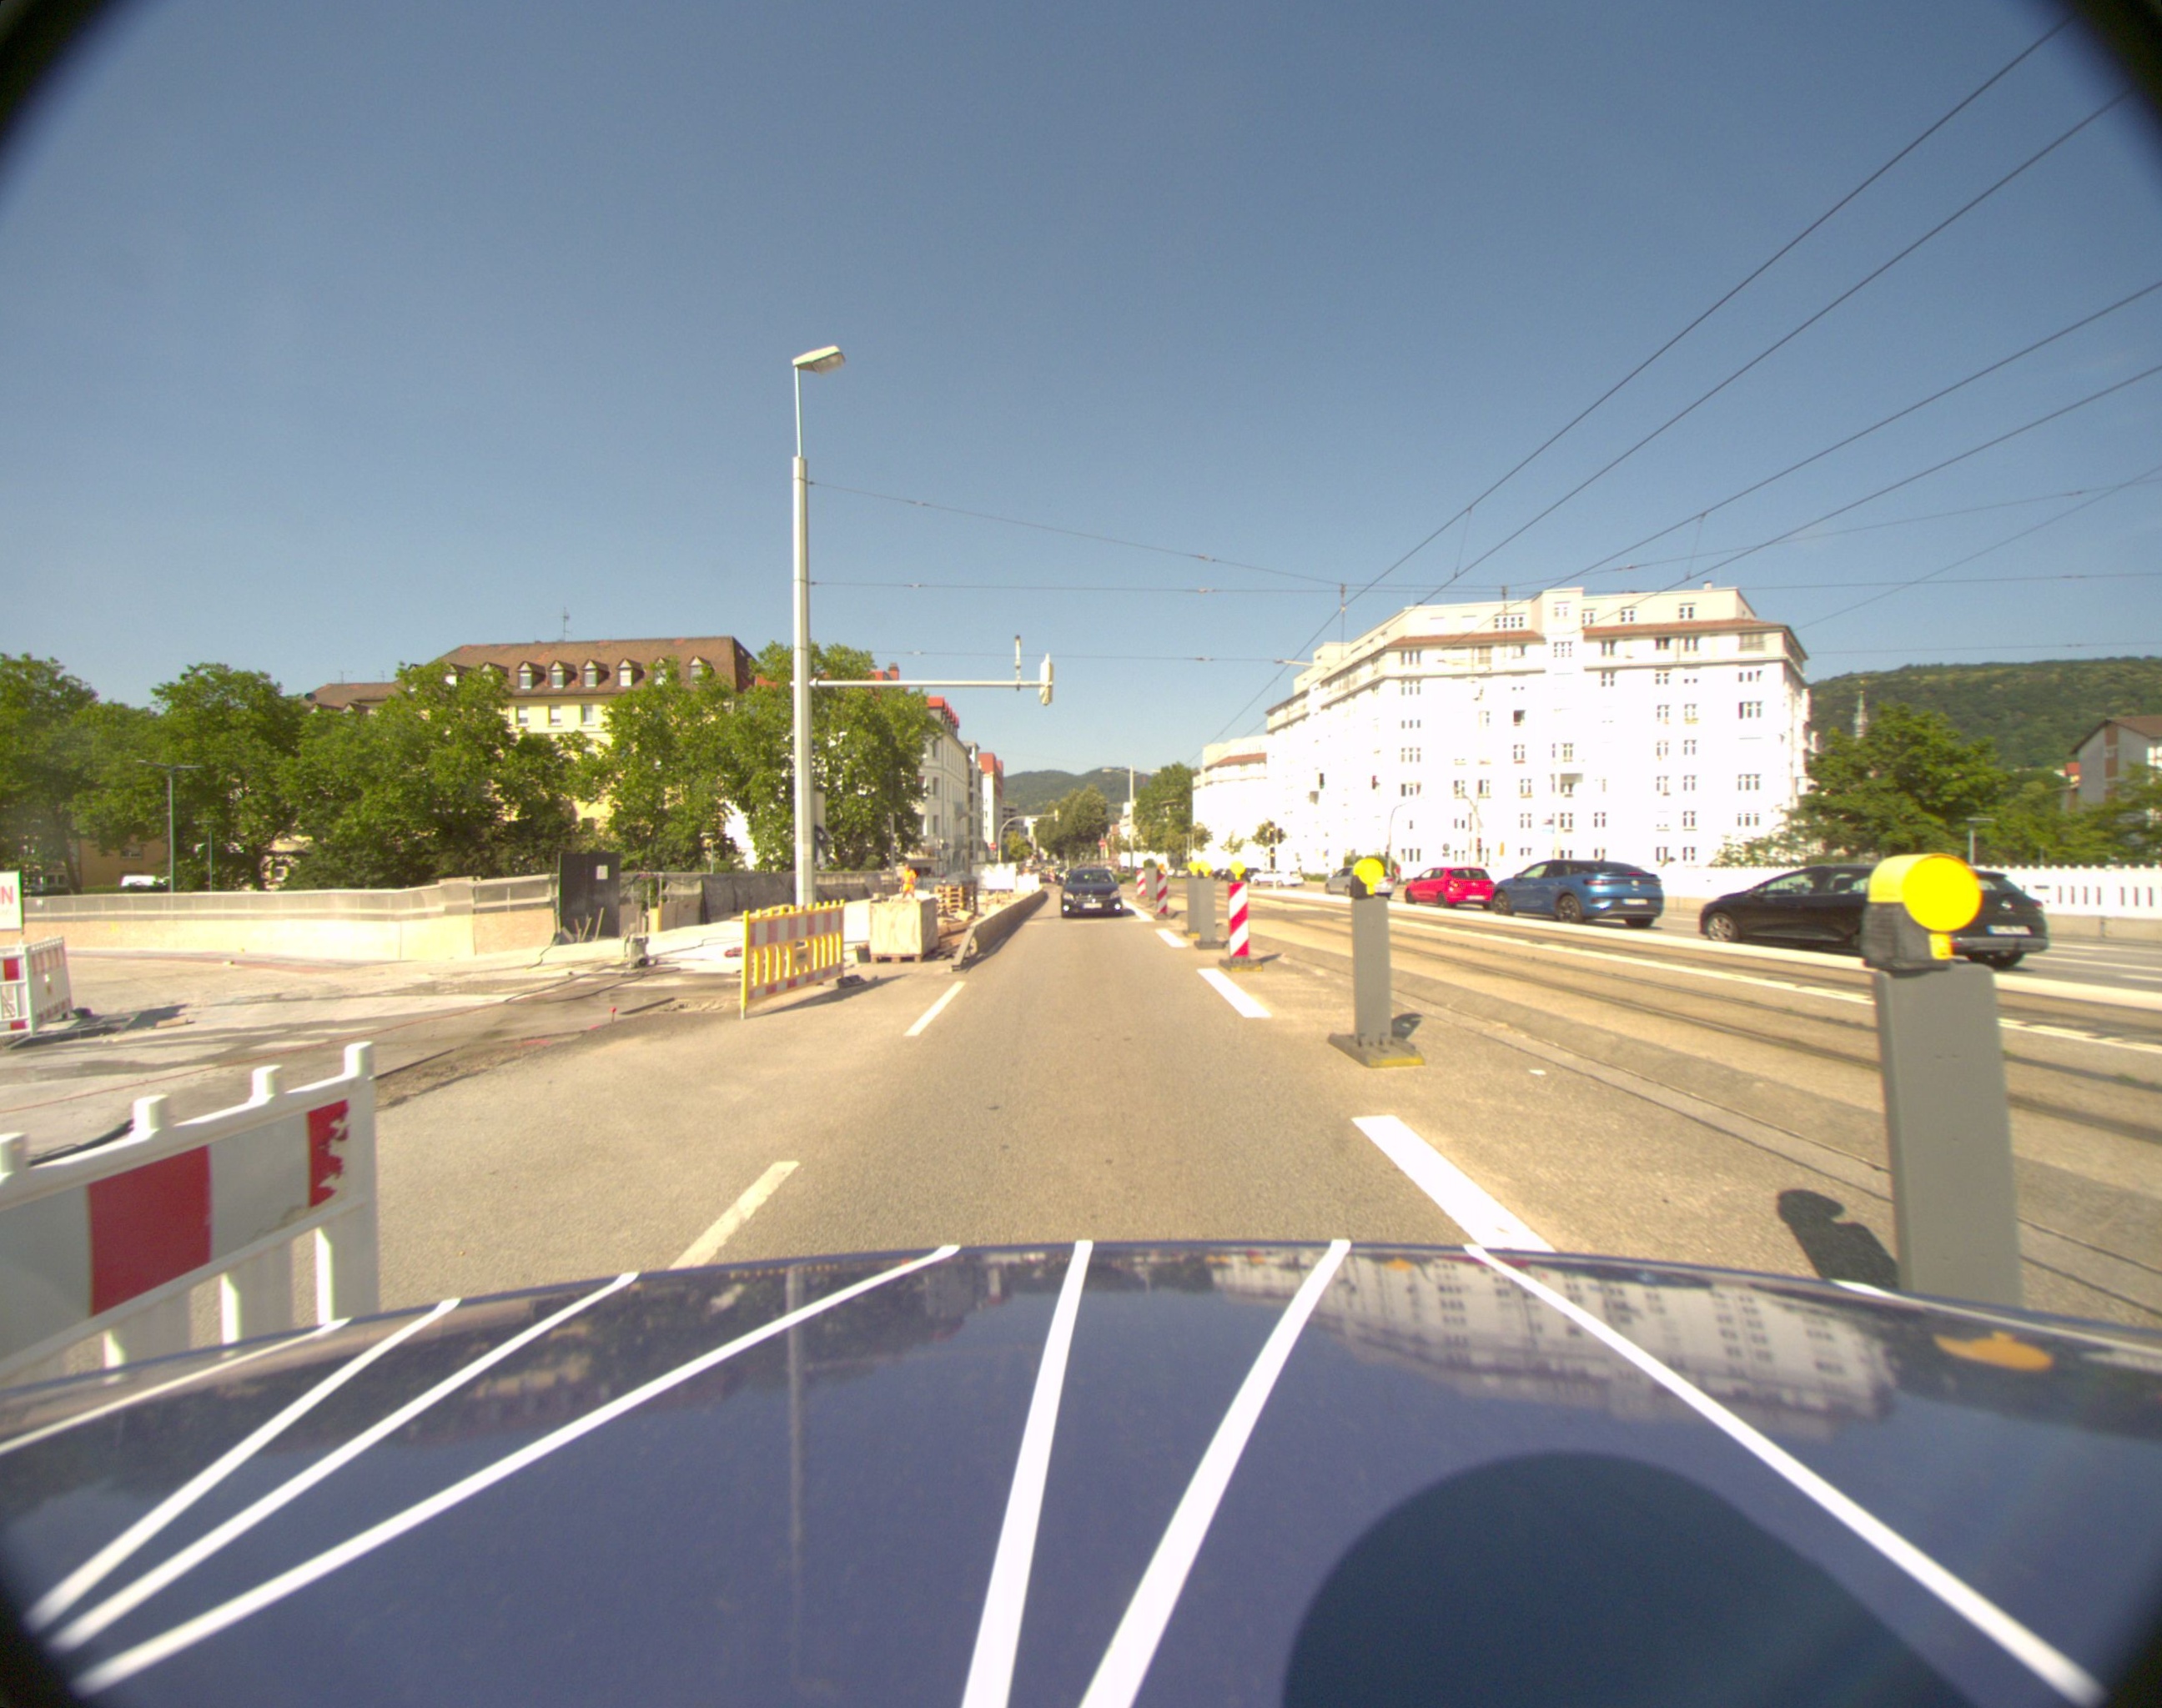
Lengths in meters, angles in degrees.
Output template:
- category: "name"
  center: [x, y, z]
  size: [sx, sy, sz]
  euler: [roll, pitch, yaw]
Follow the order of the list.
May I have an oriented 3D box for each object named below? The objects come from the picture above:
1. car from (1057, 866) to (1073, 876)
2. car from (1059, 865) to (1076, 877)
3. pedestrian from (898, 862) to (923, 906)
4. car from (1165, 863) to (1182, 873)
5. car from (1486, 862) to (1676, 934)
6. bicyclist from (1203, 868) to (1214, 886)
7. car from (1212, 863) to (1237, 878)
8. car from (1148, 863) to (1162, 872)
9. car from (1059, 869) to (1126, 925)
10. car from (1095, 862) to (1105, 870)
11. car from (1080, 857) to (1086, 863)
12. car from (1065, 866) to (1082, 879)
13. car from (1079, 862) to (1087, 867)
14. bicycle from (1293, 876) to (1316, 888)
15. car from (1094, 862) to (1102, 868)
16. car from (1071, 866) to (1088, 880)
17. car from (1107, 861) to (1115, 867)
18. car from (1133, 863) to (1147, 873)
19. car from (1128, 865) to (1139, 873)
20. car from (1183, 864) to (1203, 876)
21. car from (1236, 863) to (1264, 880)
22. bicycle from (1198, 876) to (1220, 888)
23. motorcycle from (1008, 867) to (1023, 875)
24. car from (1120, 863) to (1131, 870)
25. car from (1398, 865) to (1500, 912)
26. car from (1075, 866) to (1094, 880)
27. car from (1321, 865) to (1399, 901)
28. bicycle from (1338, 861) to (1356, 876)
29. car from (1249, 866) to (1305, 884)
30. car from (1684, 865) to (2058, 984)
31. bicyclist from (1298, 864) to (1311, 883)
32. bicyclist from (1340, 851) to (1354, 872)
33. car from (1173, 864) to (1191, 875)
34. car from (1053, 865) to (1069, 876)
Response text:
- category: "car"
  center: [-2.121, 2.219, 99.862]
  size: [1.768, 1.346, 3.998]
  euler: [-1, -1, -6]
- category: "car"
  center: [-1.668, 2.074, 92.539]
  size: [1.767, 1.346, 3.999]
  euler: [-1, -1, -4]
- category: "pedestrian"
  center: [-7.089, 1.232, 31.628]
  size: [0.821, 1.784, 0.864]
  euler: [1, 0, -1]
- category: "car"
  center: [13.934, 2.137, 114.407]
  size: [1.740, 1.475, 3.739]
  euler: [-1, 0, -5]
- category: "car"
  center: [12.060, 0.981, 18.760]
  size: [1.674, 1.541, 4.556]
  euler: [1, 0, 0]
- category: "bicyclist"
  center: [11.520, 2.061, 68.450]
  size: [0.784, 1.540, 0.710]
  euler: [-2, -1, -3]
- category: "car"
  center: [16.320, 1.894, 86.525]
  size: [1.740, 1.628, 3.738]
  euler: [-1, 0, -7]
- category: "car"
  center: [12.348, 2.281, 127.353]
  size: [1.740, 1.475, 3.739]
  euler: [-1, 0, -5]
- category: "car"
  center: [0.397, 1.170, 22.237]
  size: [1.702, 1.399, 4.624]
  euler: [-2, -1, 2]
- category: "car"
  center: [3.790, 2.479, 154.331]
  size: [1.696, 1.546, 3.655]
  euler: [0, 0, -4]
- category: "car"
  center: [0.674, 1.970, 247.371]
  size: [1.798, 1.672, 3.739]
  euler: [-1, 0, -3]
- category: "car"
  center: [-0.835, 2.089, 86.123]
  size: [1.767, 1.346, 4.000]
  euler: [-1, -1, -2]
- category: "car"
  center: [0.531, 2.817, 206.854]
  size: [1.798, 1.475, 3.739]
  euler: [-1, 0, -3]
- category: "bicycle"
  center: [19.706, 2.461, 67.054]
  size: [1.908, 1.014, 0.823]
  euler: [-3, -2, 16]
- category: "car"
  center: [4.472, 2.812, 195.654]
  size: [1.798, 1.475, 3.739]
  euler: [-1, 0, -3]
- category: "car"
  center: [-0.191, 2.012, 79.779]
  size: [1.767, 1.346, 4.000]
  euler: [-1, -1, -1]
- category: "car"
  center: [7.314, 2.511, 186.883]
  size: [1.739, 1.475, 3.739]
  euler: [-1, 0, -3]
- category: "car"
  center: [9.384, 2.257, 121.253]
  size: [1.594, 1.484, 3.661]
  euler: [1, -1, -4]
- category: "car"
  center: [10.451, 2.949, 150.989]
  size: [1.740, 1.475, 3.739]
  euler: [-1, 0, -5]
- category: "car"
  center: [14.542, 2.044, 99.094]
  size: [1.740, 1.475, 3.739]
  euler: [-1, 0, -5]
- category: "car"
  center: [17.265, 1.800, 77.822]
  size: [1.740, 1.628, 3.739]
  euler: [-1, 0, -5]
- category: "bicycle"
  center: [11.516, 2.507, 68.446]
  size: [1.818, 0.985, 0.710]
  euler: [-3, 0, -3]
- category: "motorcycle"
  center: [-9.794, 2.522, 113.311]
  size: [2.177, 1.159, 0.744]
  euler: [0, 0, 1]
- category: "car"
  center: [9.372, 2.536, 158.878]
  size: [1.740, 1.475, 3.739]
  euler: [-1, 0, -5]
- category: "car"
  center: [12.425, 1.113, 25.908]
  size: [1.537, 1.429, 3.980]
  euler: [1, 0, 0]
- category: "car"
  center: [0.337, 1.787, 72.095]
  size: [1.767, 1.313, 4.001]
  euler: [-1, -1, 1]
- category: "car"
  center: [12.127, 1.204, 33.403]
  size: [1.642, 1.428, 4.643]
  euler: [1, 0, -1]
- category: "bicycle"
  center: [21.094, 1.152, 60.253]
  size: [0.618, 1.093, 1.785]
  euler: [-5, 1, -6]
- category: "car"
  center: [16.064, 1.734, 62.433]
  size: [1.705, 1.403, 4.475]
  euler: [1, -1, -32]
- category: "car"
  center: [11.922, 0.942, 11.961]
  size: [1.509, 1.491, 4.177]
  euler: [1, 0, 0]
- category: "bicyclist"
  center: [19.763, 1.695, 67.071]
  size: [1.007, 1.643, 0.810]
  euler: [-3, -2, 16]
- category: "bicyclist"
  center: [21.042, 0.562, 60.118]
  size: [0.624, 1.580, 0.917]
  euler: [-5, 1, -6]
- category: "car"
  center: [14.202, 2.131, 107.132]
  size: [1.740, 1.475, 3.739]
  euler: [-1, 0, -5]
- category: "car"
  center: [-2.858, 2.313, 106.950]
  size: [1.768, 1.346, 3.998]
  euler: [-1, -1, -8]
